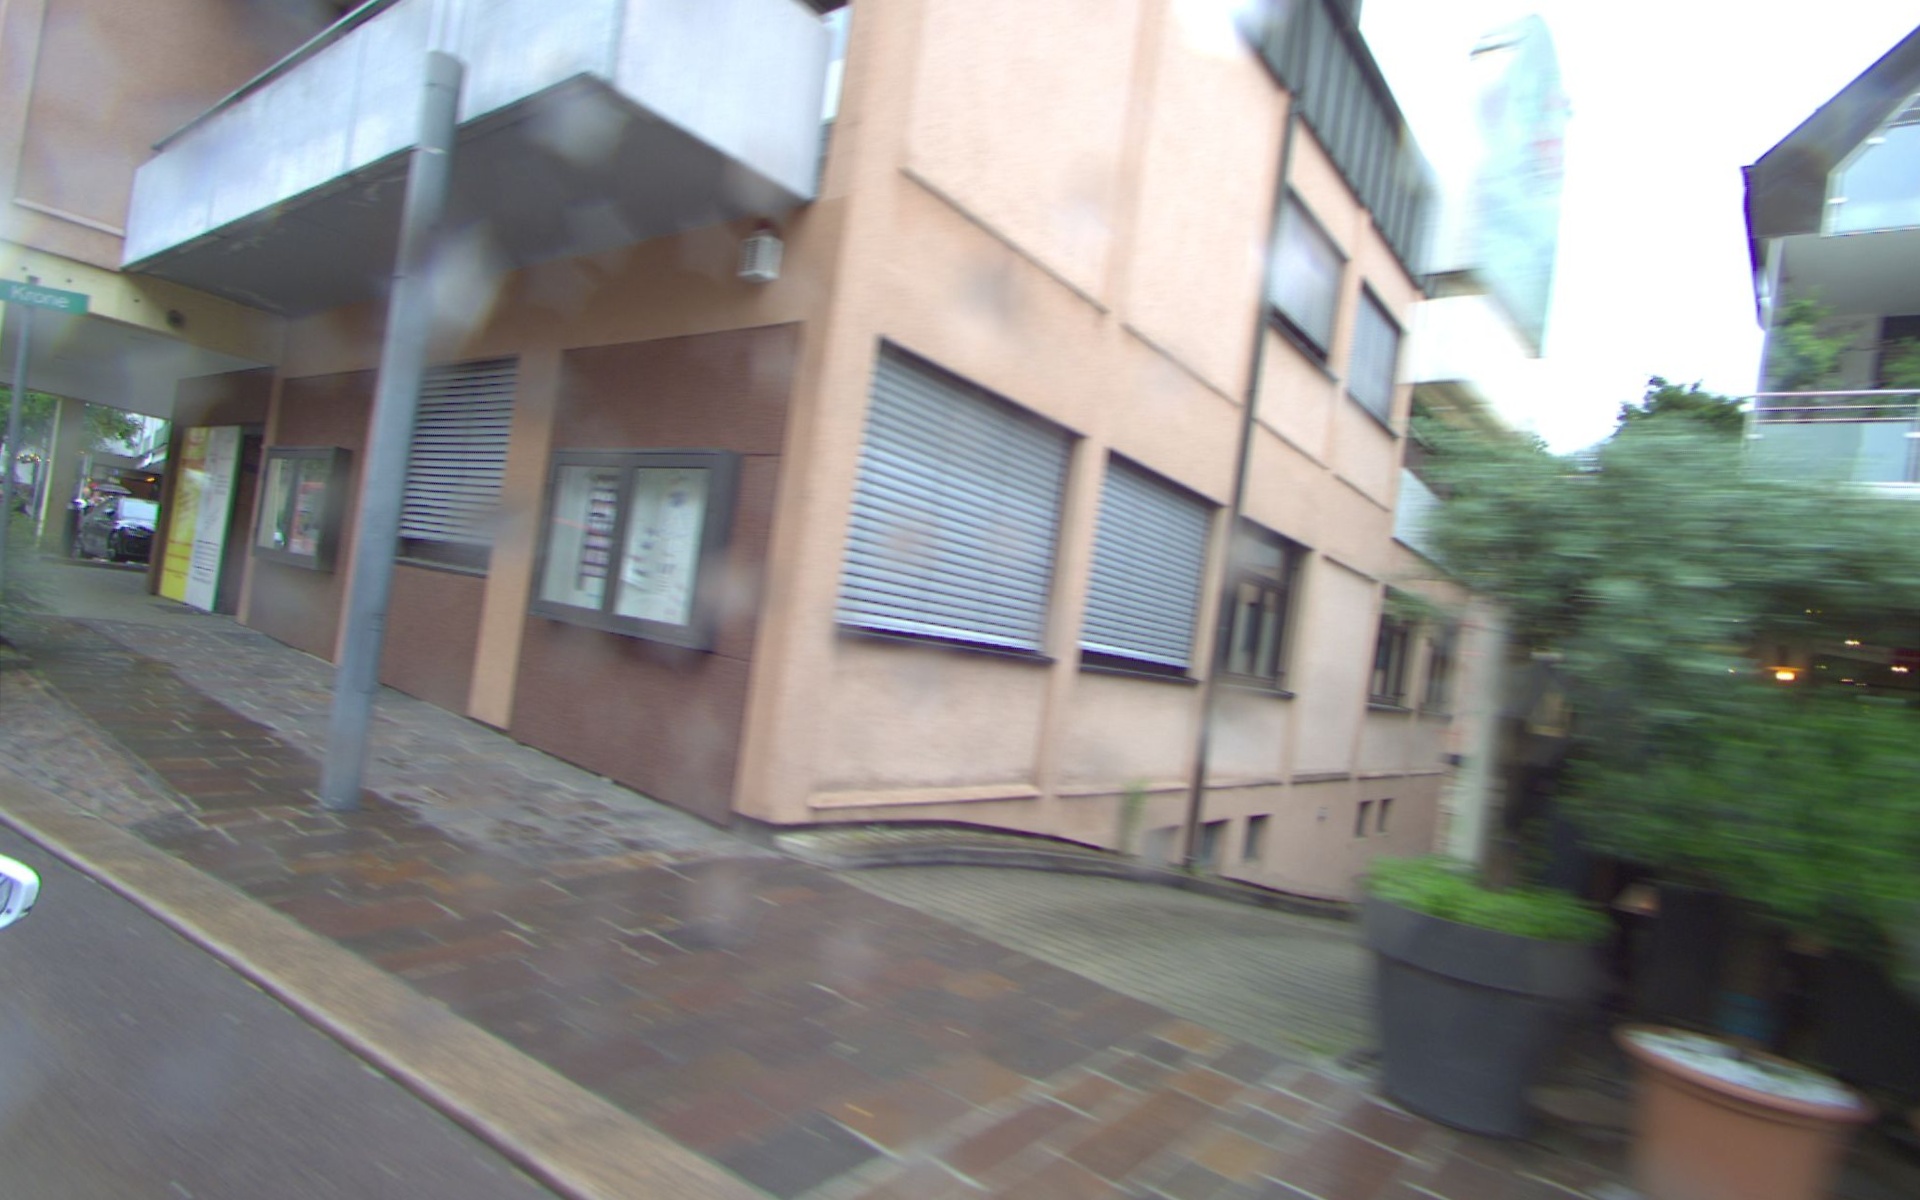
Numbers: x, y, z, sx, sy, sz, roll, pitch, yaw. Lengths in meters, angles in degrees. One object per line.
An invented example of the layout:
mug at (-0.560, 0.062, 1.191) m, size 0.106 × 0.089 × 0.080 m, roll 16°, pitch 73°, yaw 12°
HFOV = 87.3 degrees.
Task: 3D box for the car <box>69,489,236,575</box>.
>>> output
car at (-16.676, -1.425, 20.705) m, size 4.407 × 1.291 × 1.762 m, roll 7°, pitch -2°, yaw 40°

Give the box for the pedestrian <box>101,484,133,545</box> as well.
pedestrian at (-24.472, -2.486, 29.196) m, size 0.538 × 1.683 × 0.514 m, roll 8°, pitch 0°, yaw -42°

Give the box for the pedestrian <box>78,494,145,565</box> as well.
pedestrian at (-21.705, -1.787, 25.757) m, size 0.954 × 1.658 × 0.731 m, roll 8°, pitch -1°, yaw -20°

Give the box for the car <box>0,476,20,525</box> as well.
car at (-29.049, -3.062, 29.653) m, size 1.531 × 1.377 × 3.337 m, roll 10°, pitch -2°, yaw -38°

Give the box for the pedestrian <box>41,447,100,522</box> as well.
pedestrian at (-22.004, -2.847, 24.908) m, size 0.689 × 1.681 × 0.817 m, roll 8°, pitch 0°, yaw -21°

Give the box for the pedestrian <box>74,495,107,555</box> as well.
pedestrian at (-23.307, -2.012, 26.955) m, size 0.495 × 1.526 × 0.485 m, roll 8°, pitch 0°, yaw -44°

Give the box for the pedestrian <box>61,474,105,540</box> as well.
pedestrian at (-25.178, -2.669, 28.874) m, size 0.732 × 1.769 × 0.881 m, roll 8°, pitch -1°, yaw -44°

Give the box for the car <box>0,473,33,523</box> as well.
car at (-32.272, -3.496, 33.640) m, size 3.947 × 1.520 × 1.619 m, roll 7°, pitch 1°, yaw 44°
